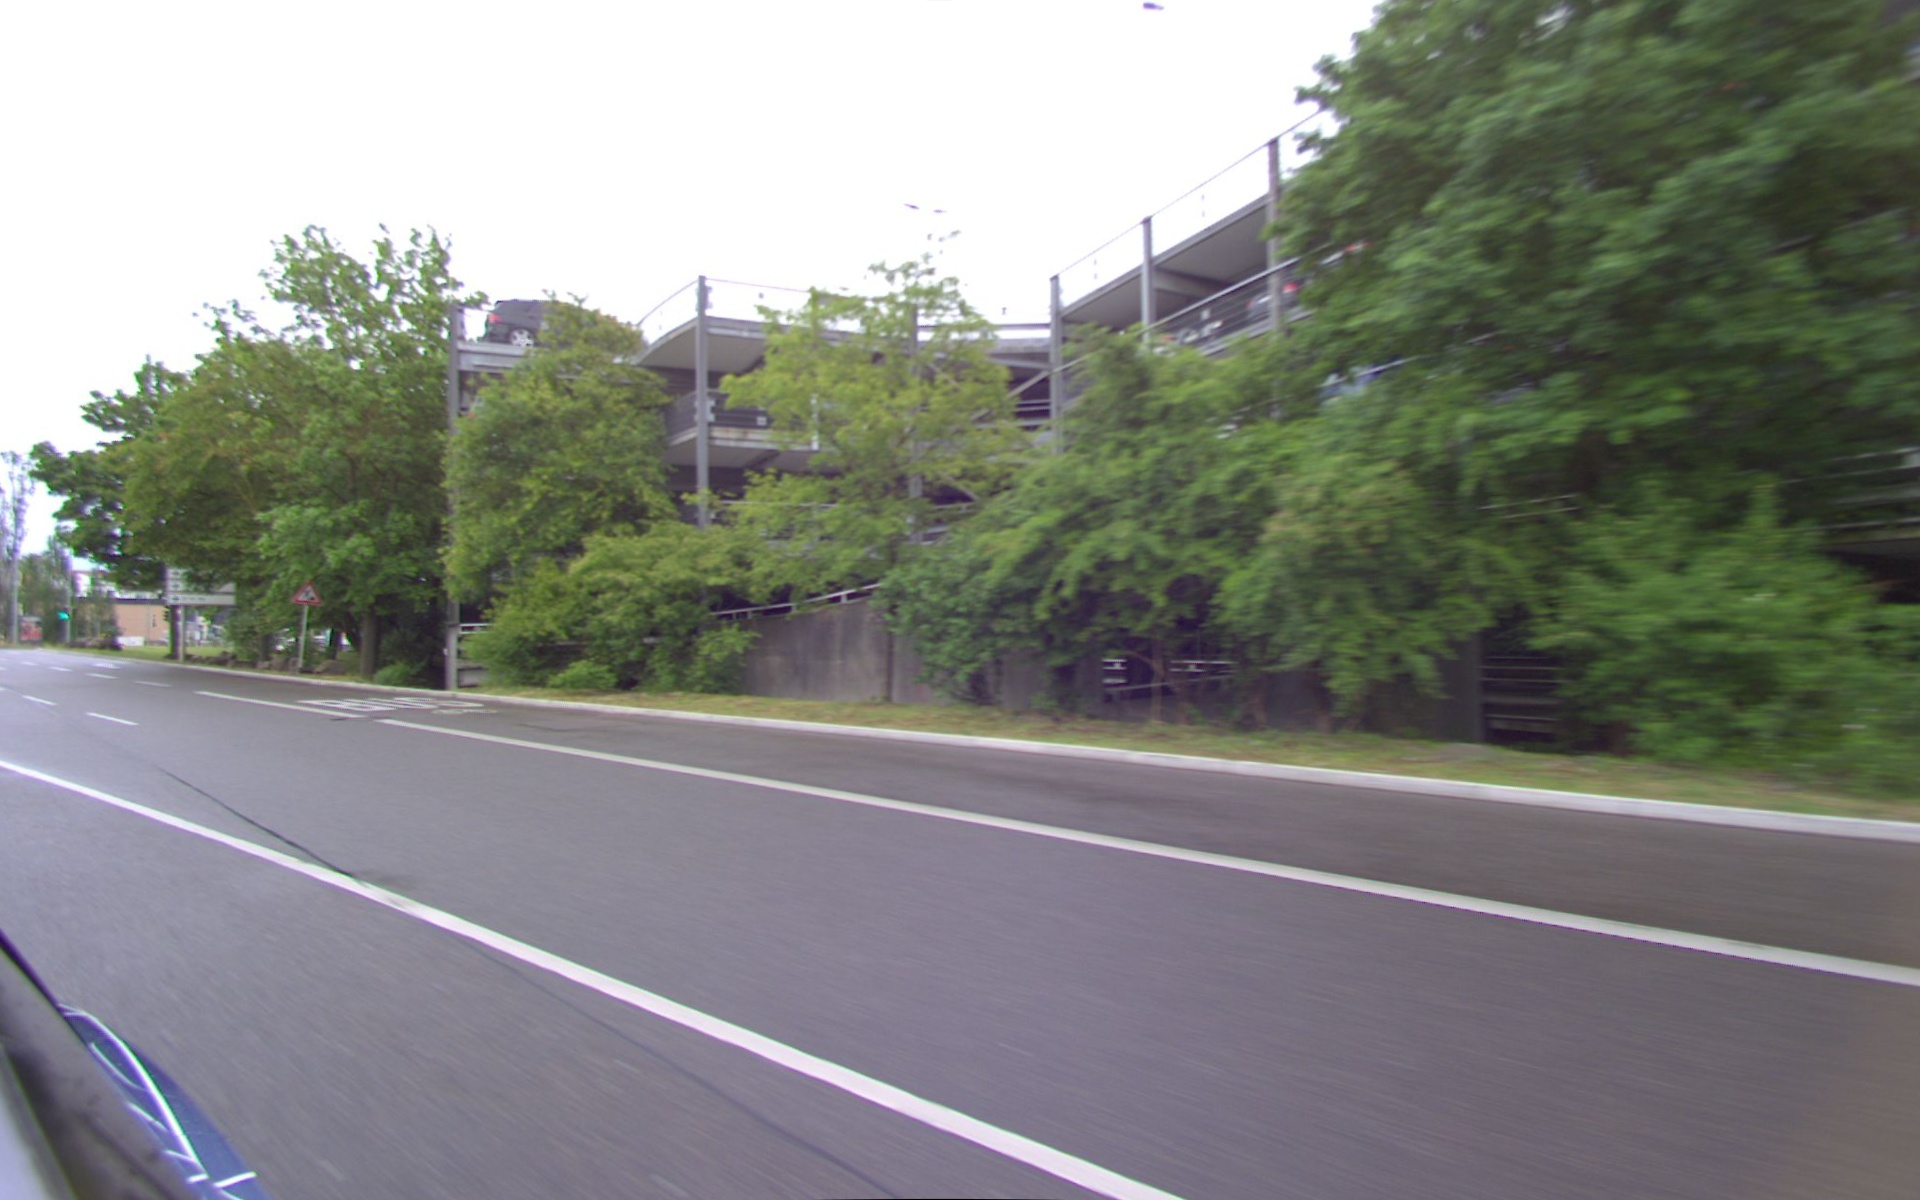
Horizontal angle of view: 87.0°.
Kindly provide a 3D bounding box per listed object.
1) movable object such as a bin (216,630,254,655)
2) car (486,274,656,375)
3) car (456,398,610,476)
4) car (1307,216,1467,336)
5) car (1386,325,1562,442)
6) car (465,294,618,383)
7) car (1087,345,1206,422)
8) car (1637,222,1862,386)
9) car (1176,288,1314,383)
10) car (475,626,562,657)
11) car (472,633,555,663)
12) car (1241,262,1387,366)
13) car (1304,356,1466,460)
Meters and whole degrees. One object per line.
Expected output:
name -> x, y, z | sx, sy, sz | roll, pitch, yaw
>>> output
movable object such as a bin -> -81.888, 4.787, 114.339 | 1.926, 2.647, 2.960 | -3, -6, 39
car -> -10.025, -7.040, 26.196 | 3.930, 1.530, 2.006 | 2, -3, -22
car -> -12.253, -4.632, 29.221 | 3.930, 1.530, 2.006 | 2, -3, -22
car -> 9.306, -6.985, 22.055 | 3.188, 1.530, 1.591 | 2, -3, -29
car -> 10.201, -4.214, 20.071 | 3.188, 1.530, 1.591 | 2, -3, -29
car -> -12.099, -7.524, 29.417 | 3.930, 1.530, 2.006 | 2, -3, -22
car -> 5.574, -6.418, 30.229 | 3.188, 1.530, 1.591 | 2, -3, -29
car -> 12.176, -4.453, 15.606 | 3.188, 1.530, 1.591 | 2, -3, -29
car -> 7.282, -6.694, 25.866 | 3.188, 1.530, 1.591 | 2, -3, -29
car -> -22.538, 2.135, 51.792 | 3.930, 1.530, 2.006 | 2, -3, -22
car -> -23.938, 2.594, 54.344 | 3.930, 1.530, 2.006 | 2, -3, -24
car -> 8.506, -6.782, 24.287 | 3.188, 1.530, 1.591 | 2, -3, -29
car -> 9.189, -4.069, 21.852 | 3.188, 1.530, 1.591 | 2, -3, -29
